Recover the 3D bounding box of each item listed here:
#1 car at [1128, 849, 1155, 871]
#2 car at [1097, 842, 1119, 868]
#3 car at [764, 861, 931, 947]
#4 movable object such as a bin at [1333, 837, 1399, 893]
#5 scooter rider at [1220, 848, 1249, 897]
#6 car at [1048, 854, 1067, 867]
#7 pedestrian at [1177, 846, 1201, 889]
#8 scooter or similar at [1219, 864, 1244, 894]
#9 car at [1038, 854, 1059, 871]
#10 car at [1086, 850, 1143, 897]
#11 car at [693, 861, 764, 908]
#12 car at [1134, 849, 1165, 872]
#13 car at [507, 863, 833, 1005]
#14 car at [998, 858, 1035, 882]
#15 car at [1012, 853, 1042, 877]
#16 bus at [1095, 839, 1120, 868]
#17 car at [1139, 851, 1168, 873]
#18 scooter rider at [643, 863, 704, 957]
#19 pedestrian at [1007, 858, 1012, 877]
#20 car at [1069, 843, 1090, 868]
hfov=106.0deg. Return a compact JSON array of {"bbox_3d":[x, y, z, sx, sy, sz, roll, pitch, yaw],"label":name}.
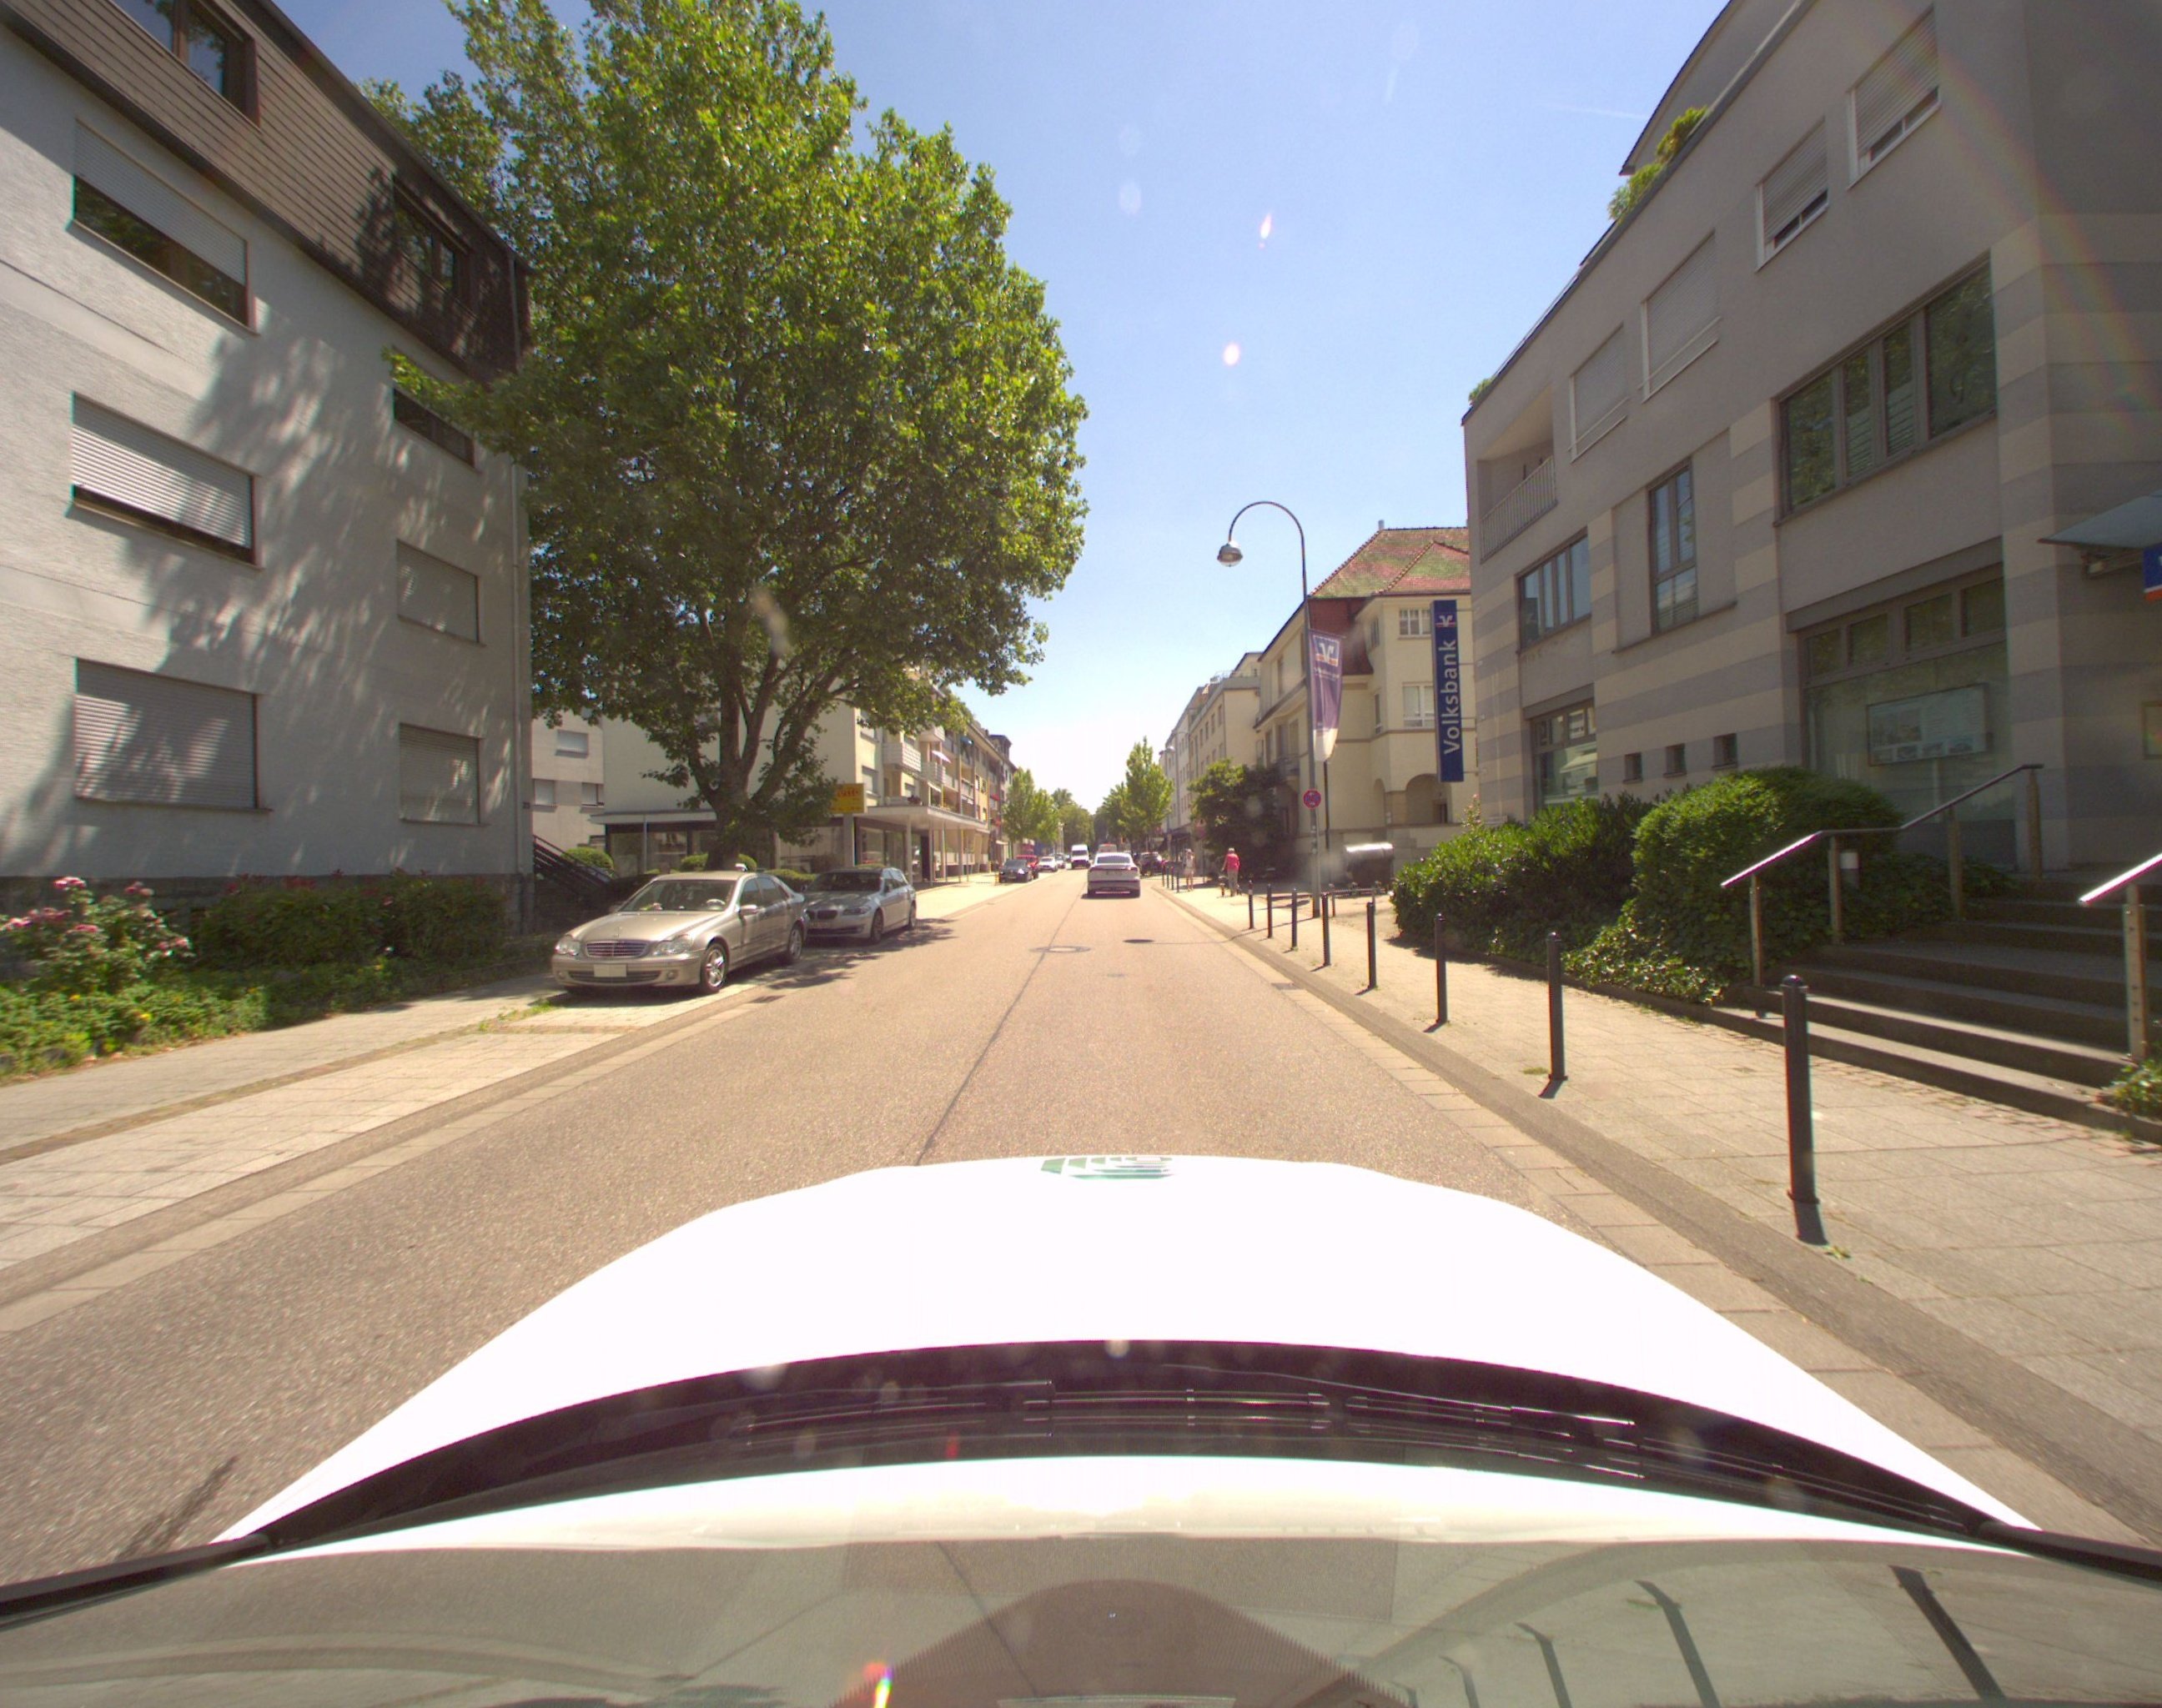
[{"bbox_3d":[5.183,0.504,70.784,1.850,1.674,4.535,-4,0,-1],"label":"car"},{"bbox_3d":[2.752,0.109,81.873,2.148,2.442,5.285,0,0,2],"label":"car"},{"bbox_3d":[-4.652,0.922,17.168,1.974,1.452,5.151,-1,0,0],"label":"car"},{"bbox_3d":[8.210,0.319,23.526,1.362,1.458,1.381,-5,-1,3],"label":"movable object such as a bin"},{"bbox_3d":[5.050,0.585,26.784,0.714,1.548,0.770,-3,0,-1],"label":"scooter rider"},{"bbox_3d":[-2.619,0.774,92.895,1.745,1.453,4.404,0,0,3],"label":"car"},{"bbox_3d":[4.262,0.534,32.210,0.698,1.626,0.783,-5,-1,0],"label":"pedestrian"},{"bbox_3d":[5.066,0.829,27.447,0.661,0.963,0.754,-3,0,1],"label":"scooter or similar"},{"bbox_3d":[-3.225,0.836,82.033,1.745,1.618,4.404,0,0,3],"label":"car"},{"bbox_3d":[1.186,0.681,30.731,1.987,1.633,4.000,-1,0,0],"label":"car"},{"bbox_3d":[-12.569,1.048,28.942,1.902,1.486,3.958,-2,0,-29],"label":"car"},{"bbox_3d":[5.466,0.476,65.433,1.891,1.674,4.688,-4,0,-1],"label":"car"},{"bbox_3d":[-5.205,0.895,11.279,1.974,1.452,4.868,-1,0,0],"label":"car"},{"bbox_3d":[-4.068,1.000,52.247,1.889,1.417,5.048,0,0,1],"label":"car"},{"bbox_3d":[-3.857,0.779,58.722,1.746,1.702,4.102,0,0,1],"label":"car"},{"bbox_3d":[3.226,-0.038,96.283,2.649,3.221,7.309,0,0,4],"label":"bus"},{"bbox_3d":[5.257,0.568,59.292,1.888,1.438,4.548,-2,0,3],"label":"car"},{"bbox_3d":[-7.113,0.949,14.240,0.586,1.575,0.878,0,0,3],"label":"scooter rider"},{"bbox_3d":[-6.659,1.244,76.035,0.394,1.735,0.444,-2,0,-10],"label":"pedestrian"},{"bbox_3d":[-0.153,0.169,91.614,2.029,2.630,7.109,-4,0,1],"label":"car"}]
